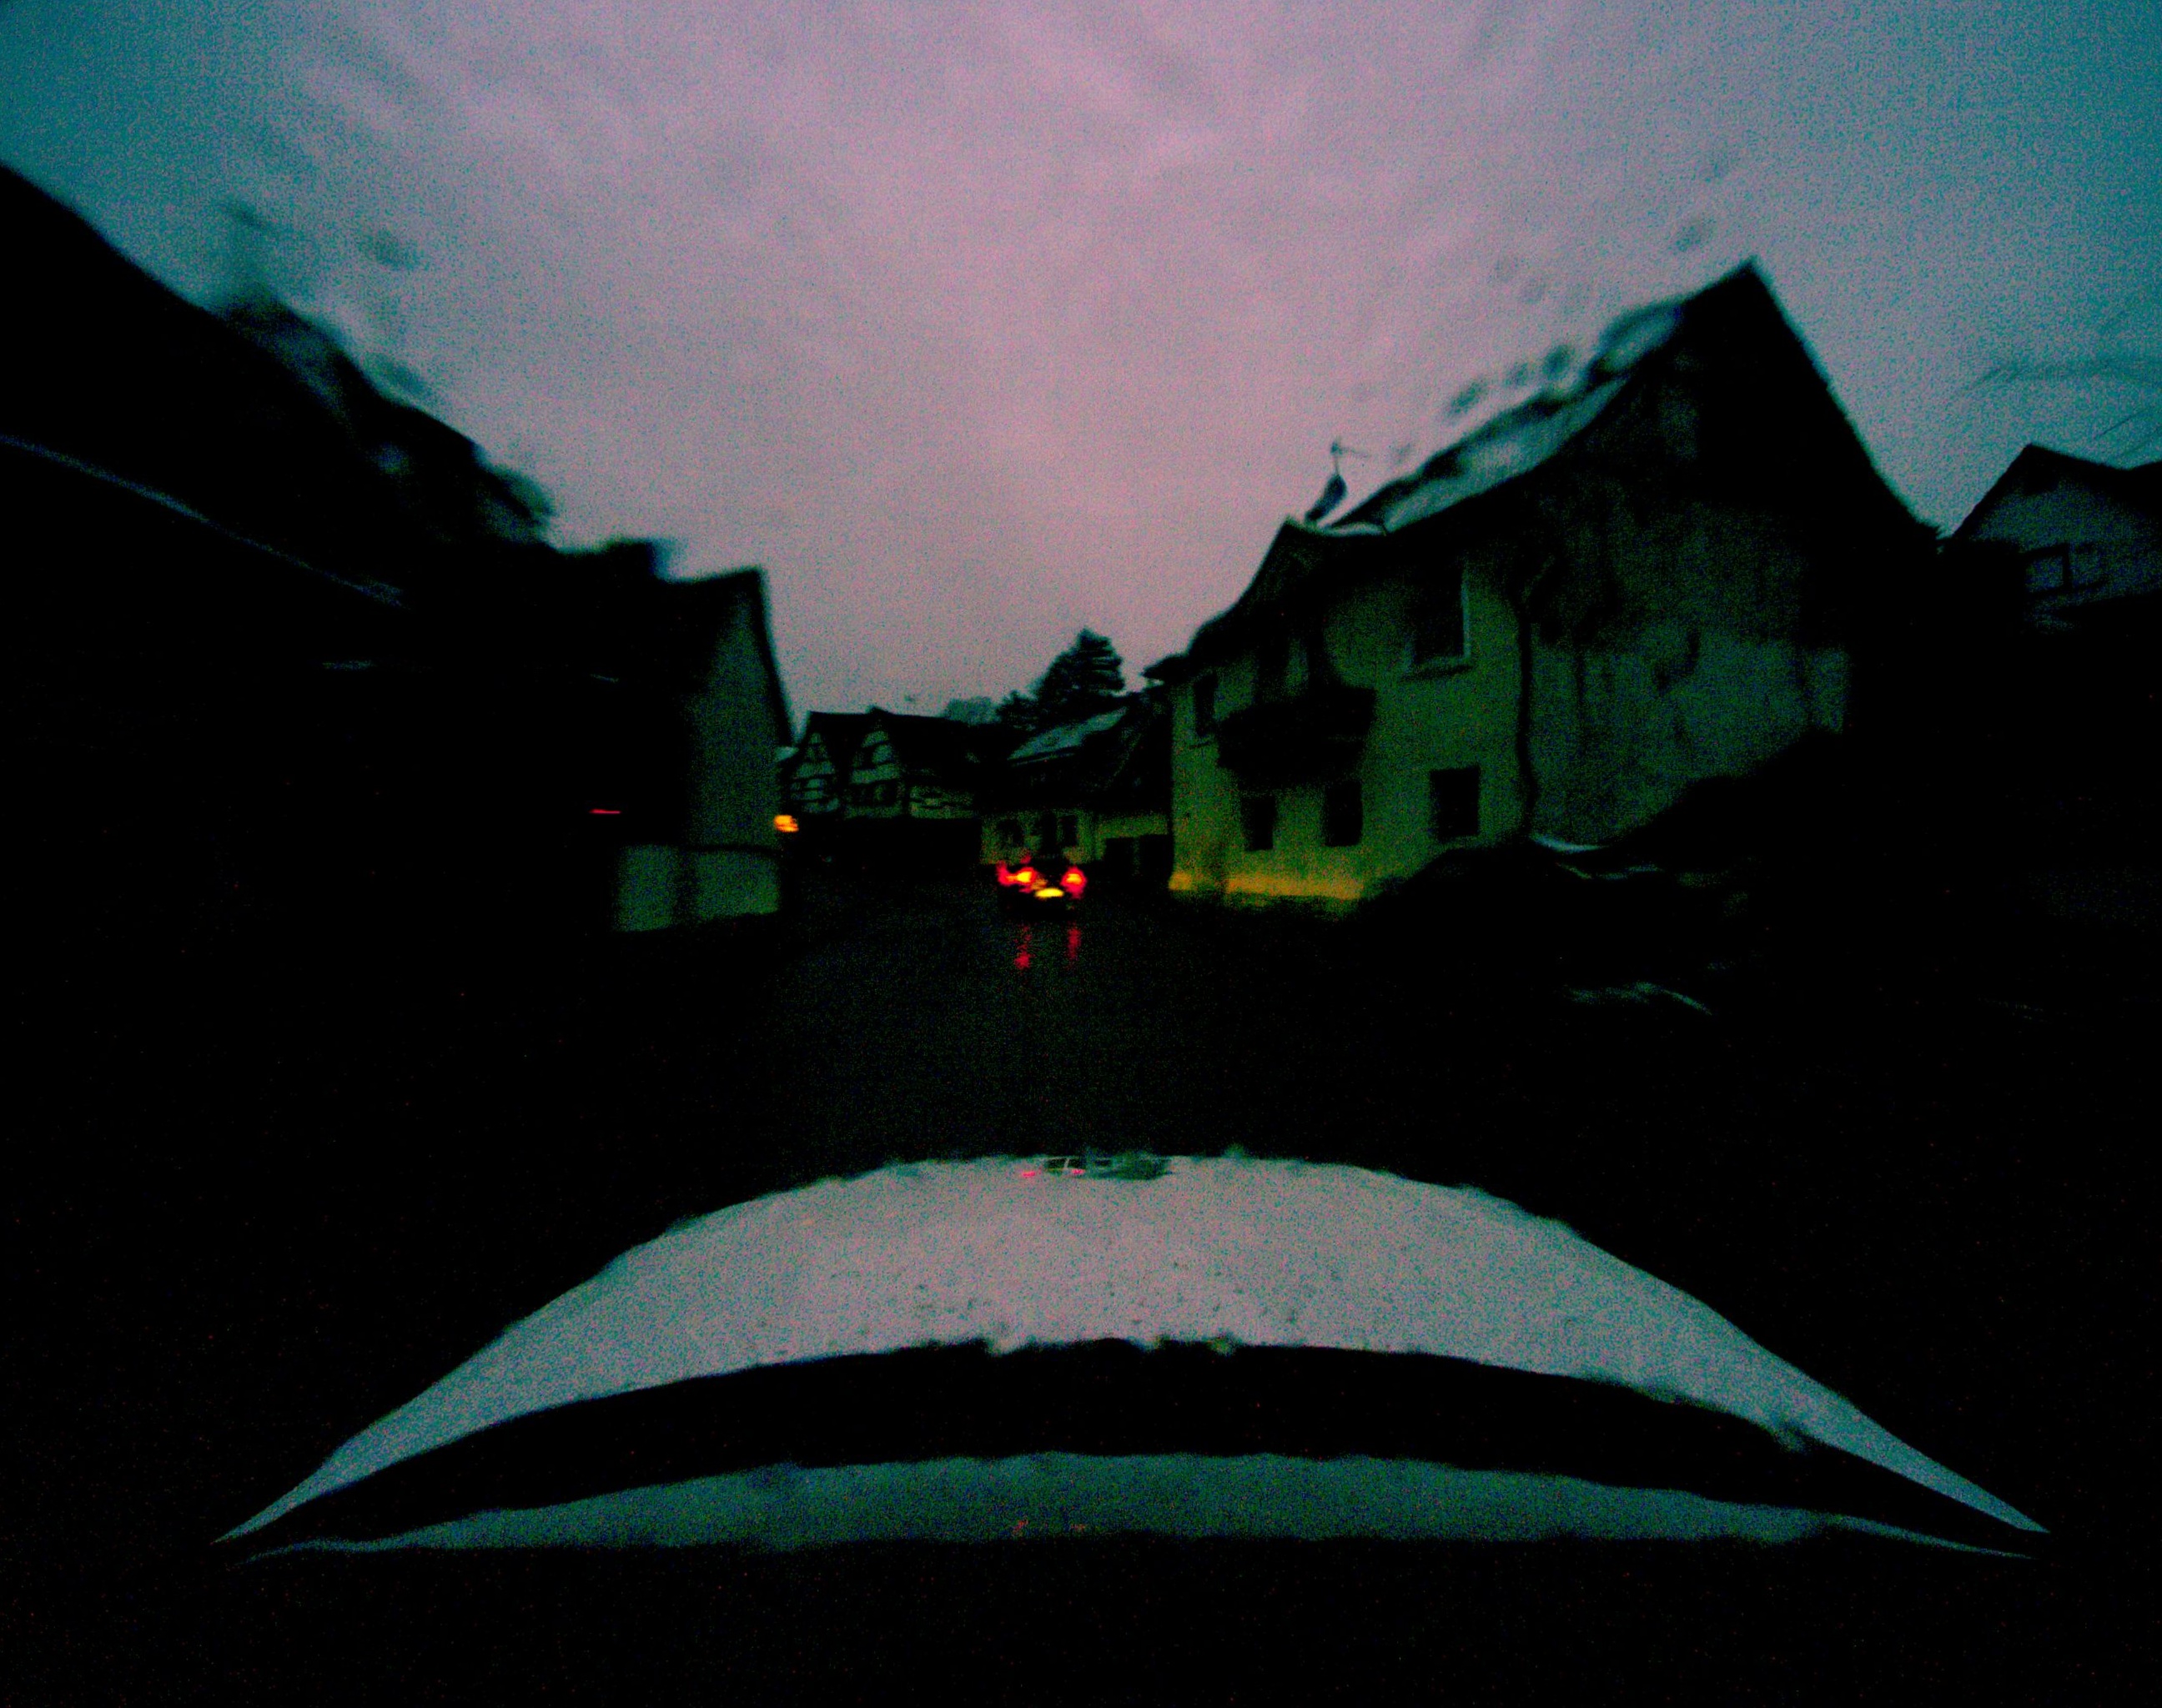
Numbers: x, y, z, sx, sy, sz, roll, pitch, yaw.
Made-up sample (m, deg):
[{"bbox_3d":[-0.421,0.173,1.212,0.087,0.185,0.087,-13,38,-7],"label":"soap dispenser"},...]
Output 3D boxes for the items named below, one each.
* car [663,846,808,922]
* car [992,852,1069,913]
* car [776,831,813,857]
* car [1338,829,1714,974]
[{"bbox_3d":[-7.308,0.603,17.630,1.615,1.421,3.799,2,-1,-3],"label":"car"},{"bbox_3d":[-1.439,0.701,21.924,1.547,1.466,3.684,2,0,-12],"label":"car"},{"bbox_3d":[-19.451,-0.714,55.238,1.603,1.515,3.946,-2,6,-32],"label":"car"},{"bbox_3d":[5.542,0.531,10.858,1.813,1.487,4.249,-2,-1,-20],"label":"car"}]
